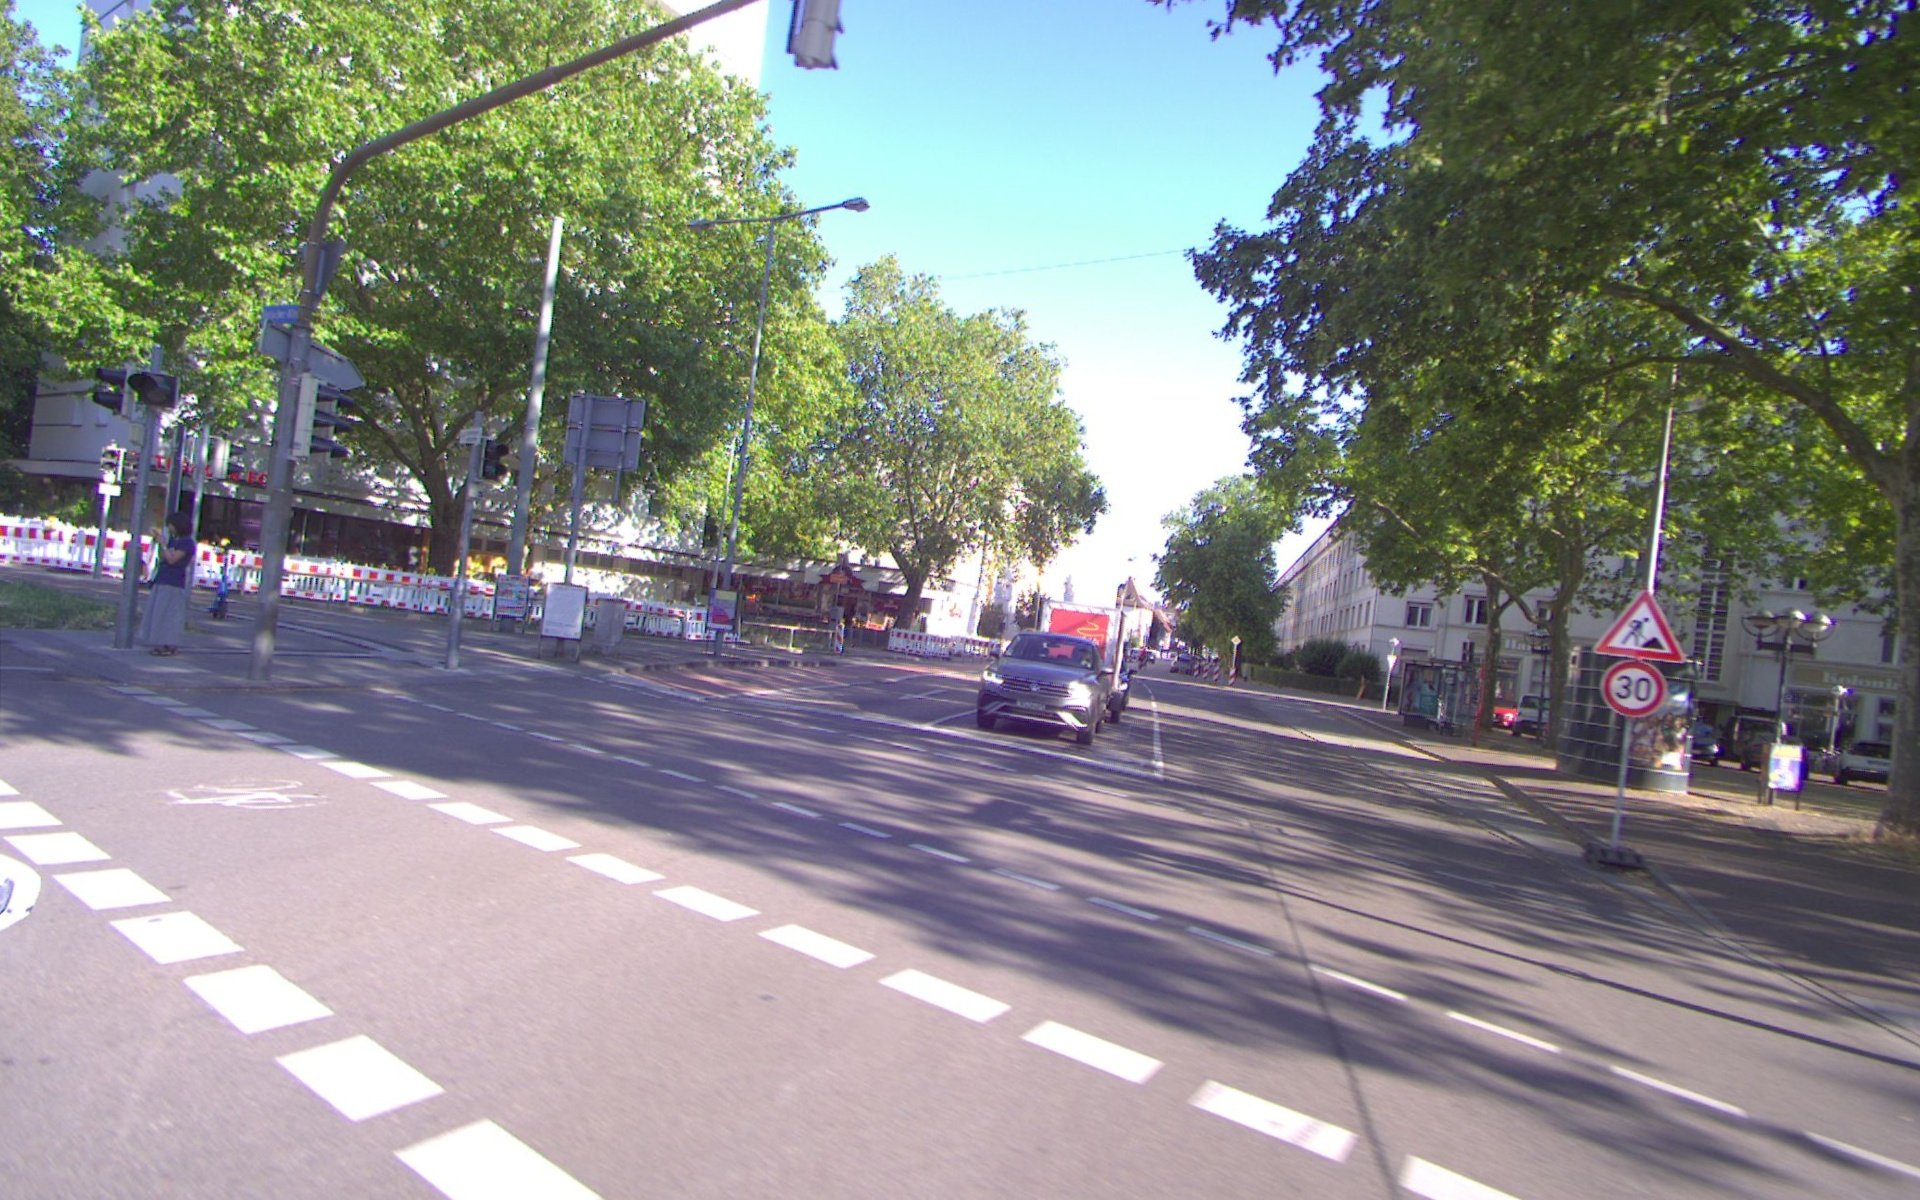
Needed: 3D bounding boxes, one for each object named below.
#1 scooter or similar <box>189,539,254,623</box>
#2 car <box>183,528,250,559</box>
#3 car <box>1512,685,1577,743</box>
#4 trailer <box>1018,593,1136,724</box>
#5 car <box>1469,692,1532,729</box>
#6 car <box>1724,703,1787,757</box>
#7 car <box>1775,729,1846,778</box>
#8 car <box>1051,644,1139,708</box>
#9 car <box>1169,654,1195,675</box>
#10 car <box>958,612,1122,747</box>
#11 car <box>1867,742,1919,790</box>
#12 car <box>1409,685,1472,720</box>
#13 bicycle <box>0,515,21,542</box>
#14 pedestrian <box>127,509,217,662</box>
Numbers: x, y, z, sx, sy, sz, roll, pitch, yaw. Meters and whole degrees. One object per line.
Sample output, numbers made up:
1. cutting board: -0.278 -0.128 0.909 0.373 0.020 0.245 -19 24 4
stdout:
1. scooter or similar: -12.185 -0.321 16.593 1.273 1.273 0.559 5 0 43
2. car: -47.864 -3.648 64.774 3.933 1.469 1.999 6 -3 31
3. car: 22.856 4.391 39.269 1.735 1.894 4.338 6 0 35
4. trailer: 2.721 1.293 22.426 1.877 2.401 4.520 7 -1 13
5. car: 27.022 5.468 50.219 1.798 1.499 4.332 6 0 40
6. car: 34.784 5.629 44.076 1.735 1.894 4.338 6 0 35
7. car: 36.147 6.496 42.847 1.735 1.499 4.338 6 0 35
8. car: 3.793 2.100 27.563 1.899 1.375 4.446 7 -3 13
9. car: 18.221 5.312 82.743 1.899 1.375 4.446 7 -3 13
10. car: 1.483 1.301 16.480 1.899 1.658 4.588 7 -3 13
11. car: 39.090 6.866 41.559 1.752 1.499 4.338 6 0 35
12. car: 24.772 5.217 51.800 1.798 1.499 4.332 6 0 40
13. bicycle: -46.734 -3.521 49.106 1.791 1.191 0.790 6 -3 34
14. pedestrian: -9.041 -0.165 11.547 0.602 1.658 0.428 7 -1 27
